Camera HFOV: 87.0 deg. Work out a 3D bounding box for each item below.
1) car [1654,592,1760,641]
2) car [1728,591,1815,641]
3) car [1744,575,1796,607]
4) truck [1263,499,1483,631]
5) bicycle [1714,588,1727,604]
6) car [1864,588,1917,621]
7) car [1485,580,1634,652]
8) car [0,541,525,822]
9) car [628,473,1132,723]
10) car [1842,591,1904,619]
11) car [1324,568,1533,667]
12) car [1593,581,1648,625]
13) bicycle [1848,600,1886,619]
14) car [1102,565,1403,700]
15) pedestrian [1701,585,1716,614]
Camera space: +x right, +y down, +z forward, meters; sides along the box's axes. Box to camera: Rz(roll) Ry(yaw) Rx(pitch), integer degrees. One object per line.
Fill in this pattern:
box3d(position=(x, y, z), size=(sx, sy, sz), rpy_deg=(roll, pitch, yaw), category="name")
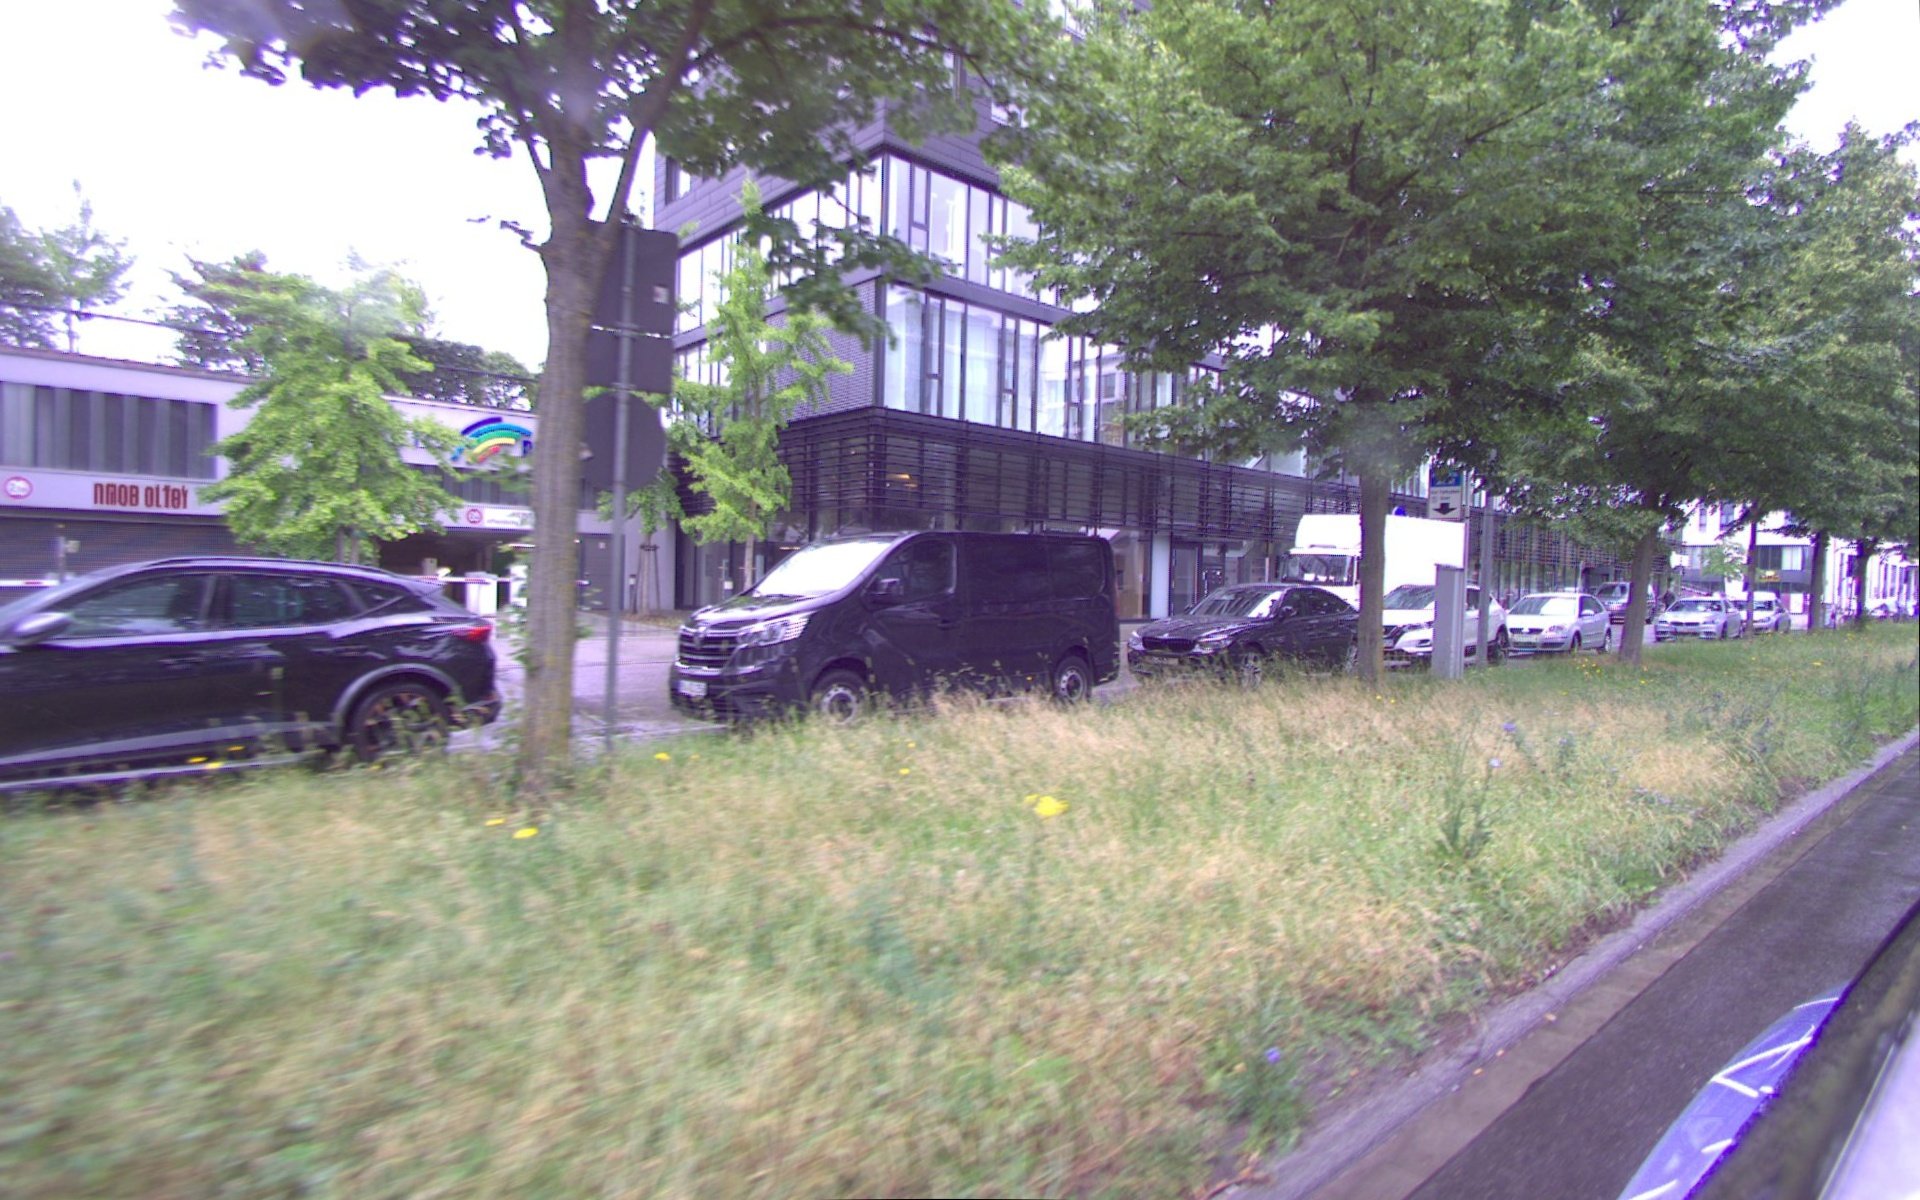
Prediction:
box3d(position=(24.527, 0.485, 33.150), size=(5.151, 1.462, 1.995), rpy_deg=(0, 1, -44), category="car")
box3d(position=(29.444, 0.591, 36.696), size=(4.028, 1.617, 1.764), rpy_deg=(3, -1, -41), category="car")
box3d(position=(49.378, -0.533, 61.690), size=(4.645, 1.889, 1.895), rpy_deg=(1, 1, -44), category="car")
box3d(position=(12.696, -0.965, 30.606), size=(8.406, 3.484, 3.027), rpy_deg=(0, 1, -44), category="truck")
box3d(position=(46.432, -0.220, 61.779), size=(0.436, 0.909, 1.212), rpy_deg=(2, -1, 44), category="bicycle")
box3d(position=(56.150, 0.280, 61.049), size=(4.144, 1.729, 1.997), rpy_deg=(3, -1, -42), category="car")
box3d(position=(13.949, 0.447, 23.432), size=(4.644, 1.471, 1.770), rpy_deg=(3, -4, -44), category="car")
box3d(position=(-5.486, 0.413, 6.674), size=(1.956, 1.531, 4.413), rpy_deg=(2, 2, 42), category="car")
box3d(position=(-0.586, 0.045, 10.420), size=(4.943, 1.977, 1.996), rpy_deg=(3, -1, -43), category="car")
box3d(position=(51.514, 0.275, 57.071), size=(4.872, 1.473, 1.997), rpy_deg=(0, 1, -41), category="car")
box3d(position=(9.124, 0.304, 19.525), size=(4.642, 1.690, 1.996), rpy_deg=(0, -1, -42), category="car")
box3d(position=(31.081, 0.111, 47.548), size=(1.988, 1.944, 5.084), rpy_deg=(2, 1, 35), category="car")
box3d(position=(46.102, 0.464, 51.471), size=(0.424, 0.929, 1.464), rpy_deg=(3, 0, -9), category="bicycle")
box3d(position=(4.484, 0.452, 15.063), size=(4.871, 1.690, 1.997), rpy_deg=(1, -1, -41), category="car")
box3d(position=(46.006, -0.015, 62.214), size=(0.625, 1.727, 0.646), rpy_deg=(2, -1, 44), category="pedestrian")
